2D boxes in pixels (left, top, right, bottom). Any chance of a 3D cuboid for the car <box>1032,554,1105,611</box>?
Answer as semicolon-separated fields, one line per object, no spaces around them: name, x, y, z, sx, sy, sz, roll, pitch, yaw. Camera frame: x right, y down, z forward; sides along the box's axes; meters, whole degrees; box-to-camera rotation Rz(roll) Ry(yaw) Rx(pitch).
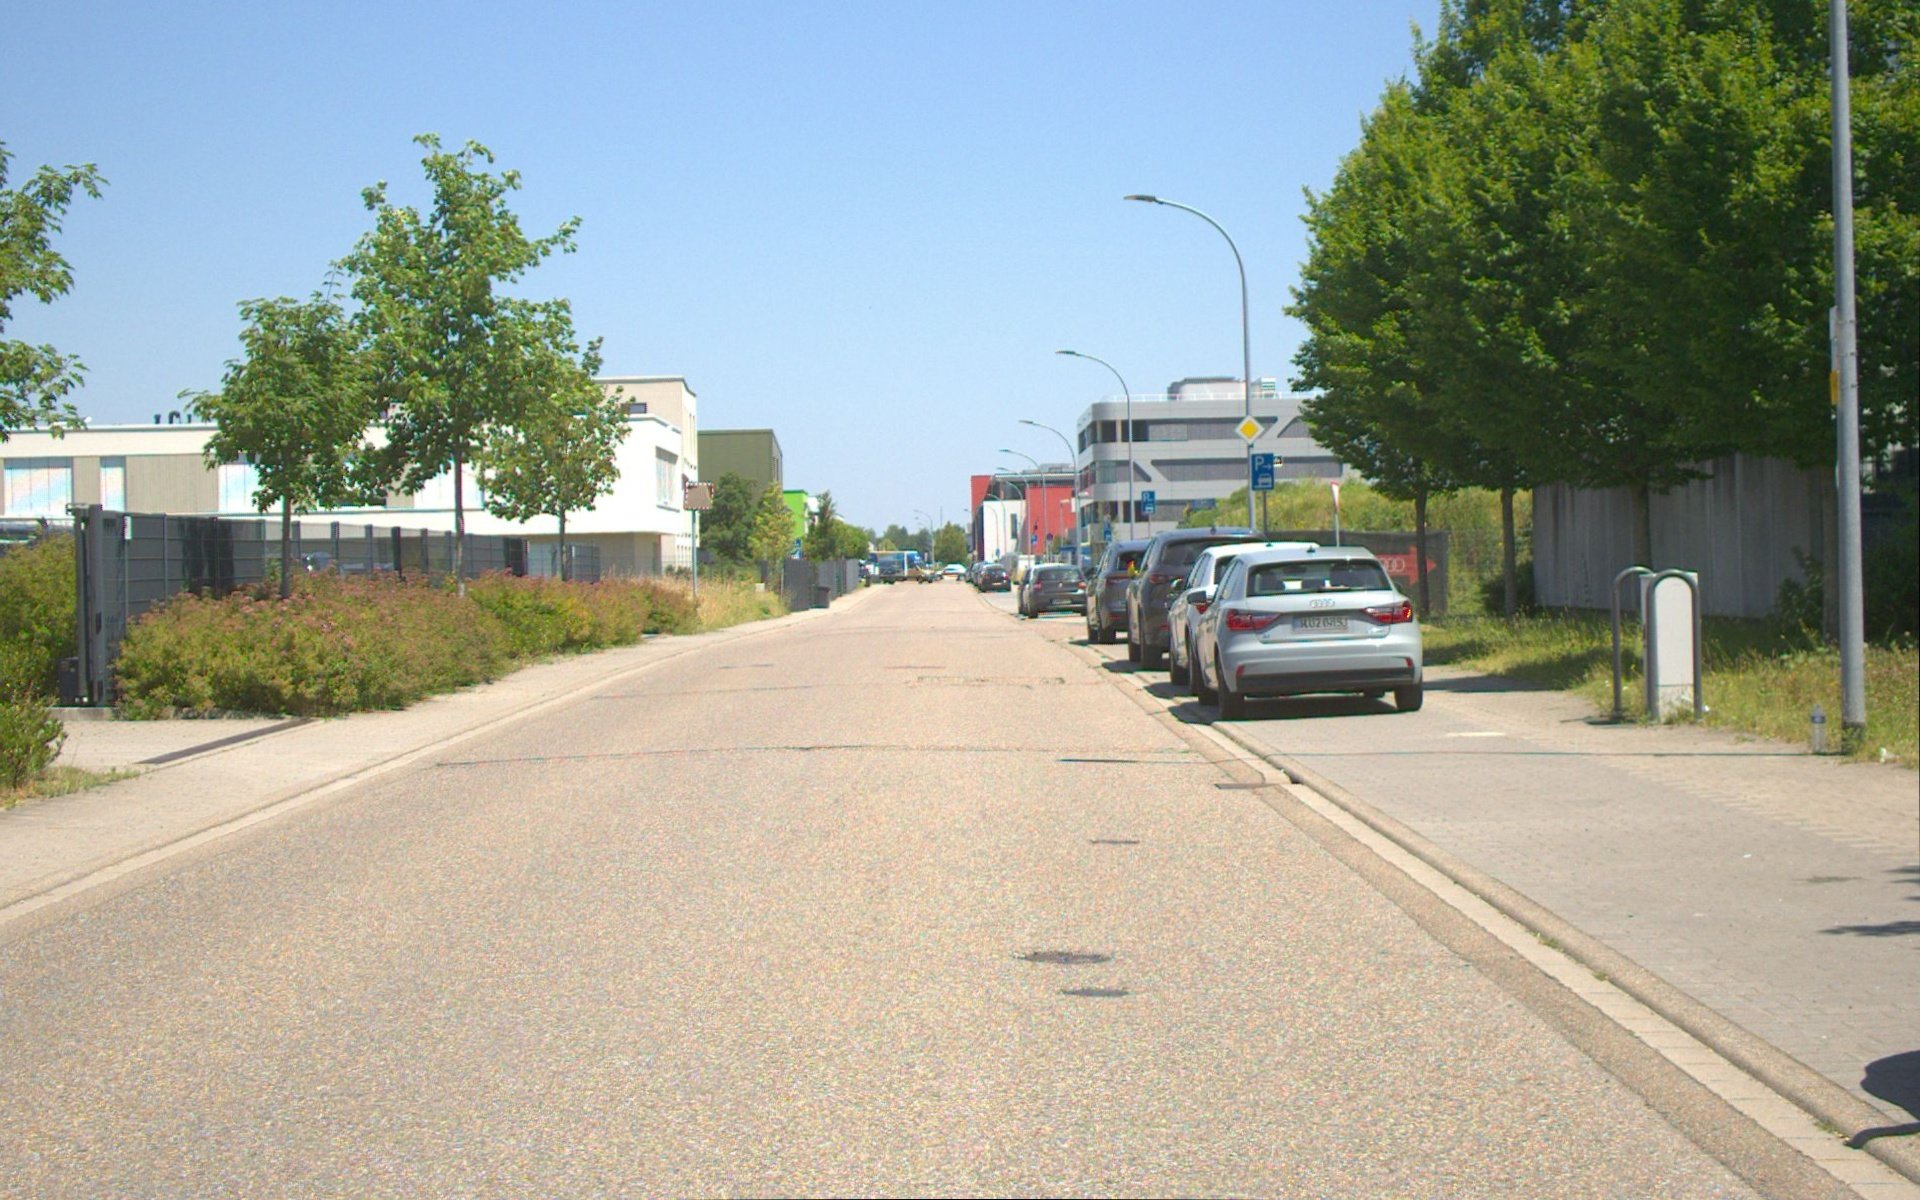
car;3.011;-0.501;94.551;1.908;1.443;4.000;-3;1;2

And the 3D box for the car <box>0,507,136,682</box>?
car;-12.113;-0.103;43.761;2.001;2.091;4.694;1;1;1

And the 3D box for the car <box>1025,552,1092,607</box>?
car;2.977;-0.621;103.462;1.908;1.541;4.000;-3;1;2

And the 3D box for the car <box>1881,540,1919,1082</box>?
car;3.462;0.572;7.396;1.691;1.471;4.269;-2;1;-1

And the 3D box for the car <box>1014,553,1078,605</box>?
car;2.767;-0.695;109.750;1.908;1.541;4.000;-3;1;2

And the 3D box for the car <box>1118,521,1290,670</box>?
car;2.940;-0.092;42.177;1.757;1.657;4.363;-3;1;0

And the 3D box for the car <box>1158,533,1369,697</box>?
car;3.012;0.109;34.842;1.716;1.476;4.031;-3;1;0

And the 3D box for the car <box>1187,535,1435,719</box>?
car;3.021;0.188;30.259;1.716;1.418;3.951;-3;1;0

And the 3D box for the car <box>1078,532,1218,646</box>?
car;2.968;-0.207;55.103;1.803;1.656;4.608;-3;1;-1

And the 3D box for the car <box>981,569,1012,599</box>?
car;2.181;-0.960;205.551;1.776;1.722;4.000;1;1;0
